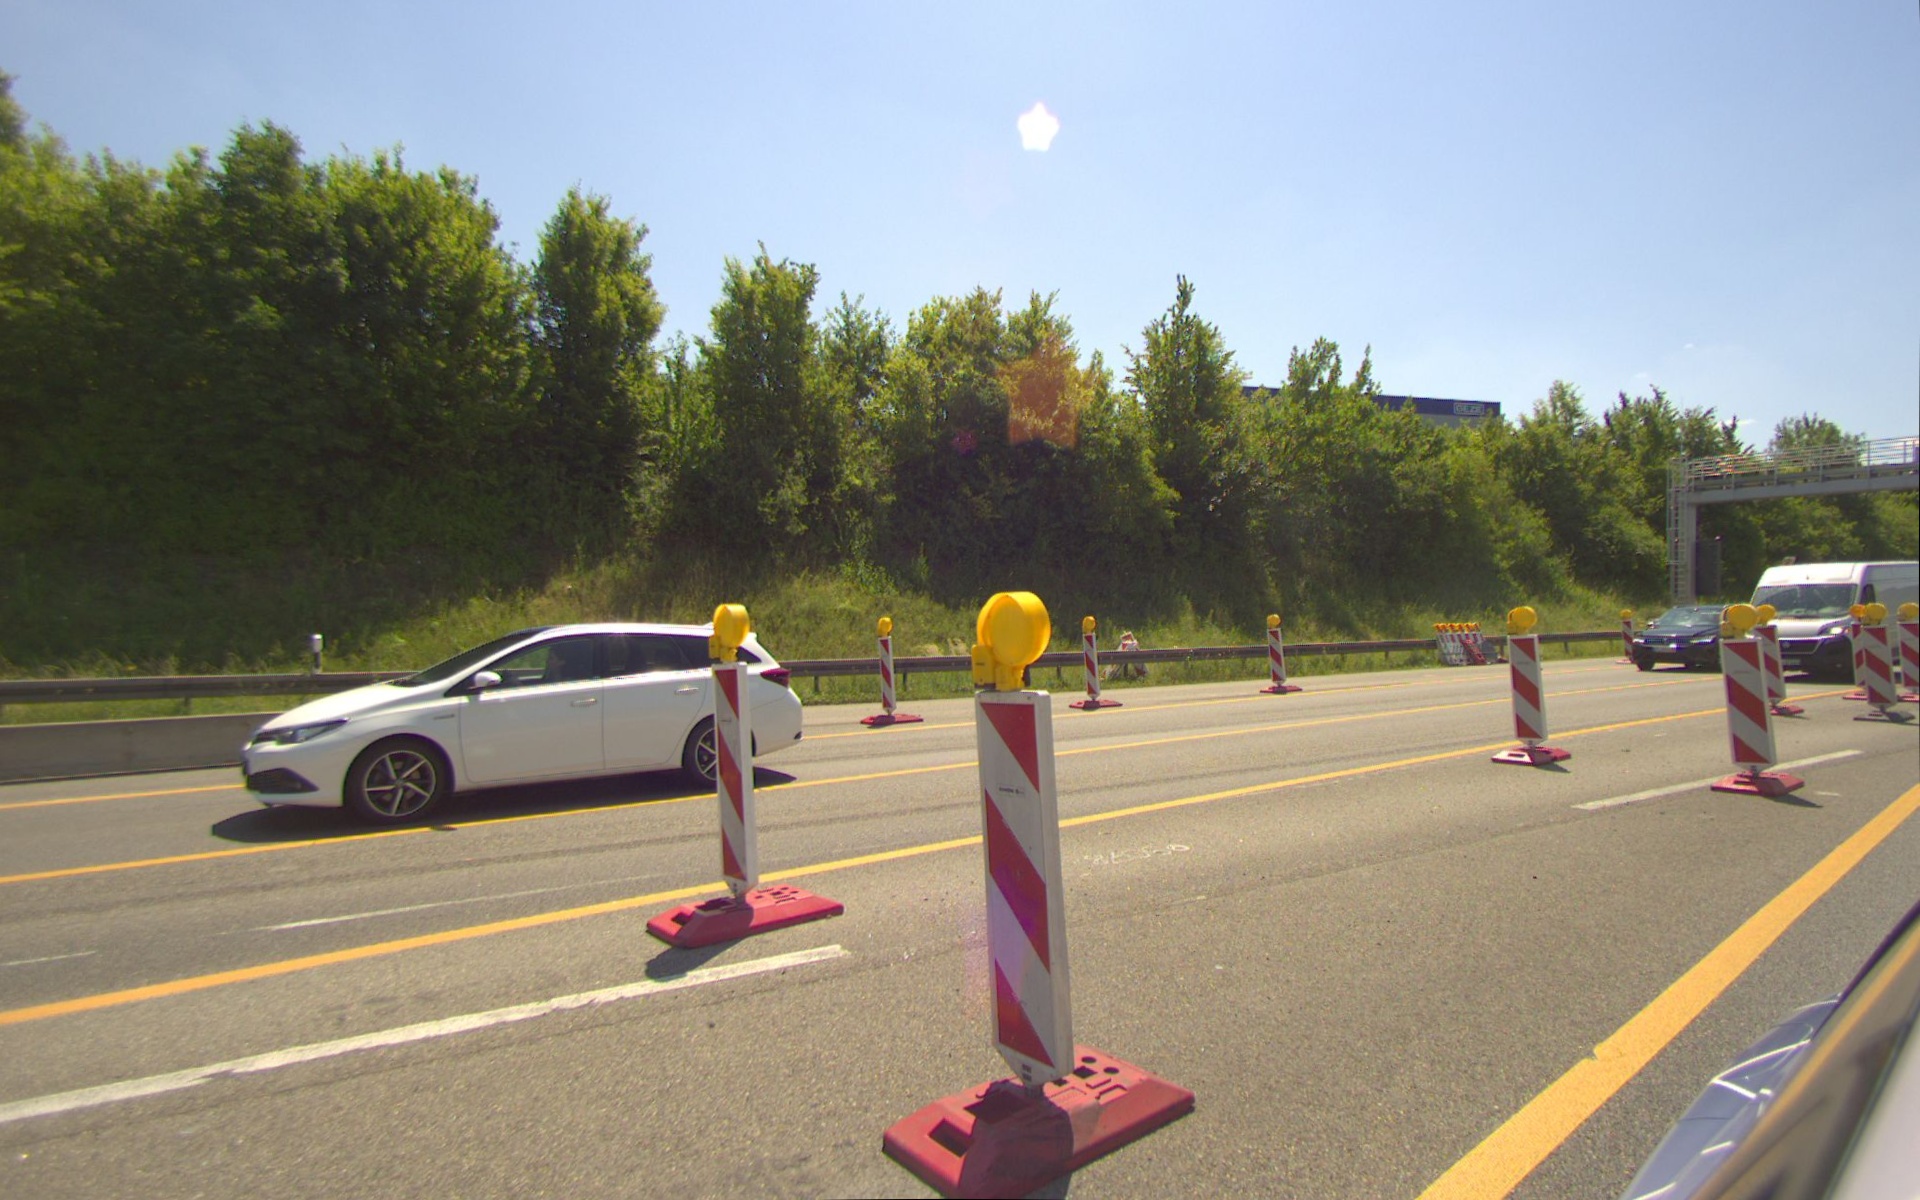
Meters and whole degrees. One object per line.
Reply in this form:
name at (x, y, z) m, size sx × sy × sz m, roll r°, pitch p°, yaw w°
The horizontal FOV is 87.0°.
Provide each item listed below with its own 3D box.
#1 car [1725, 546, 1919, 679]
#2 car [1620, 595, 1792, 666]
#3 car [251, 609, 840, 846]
car at (19.503, 0.239, 22.319) m, size 6.459 × 2.568 × 2.273 m, roll 0°, pitch -1°, yaw -35°
car at (19.310, 0.722, 26.136) m, size 5.137 × 1.684 × 2.025 m, roll 0°, pitch -1°, yaw -35°
car at (-3.540, 0.919, 9.083) m, size 4.567 × 1.483 × 1.819 m, roll -2°, pitch -1°, yaw -37°
